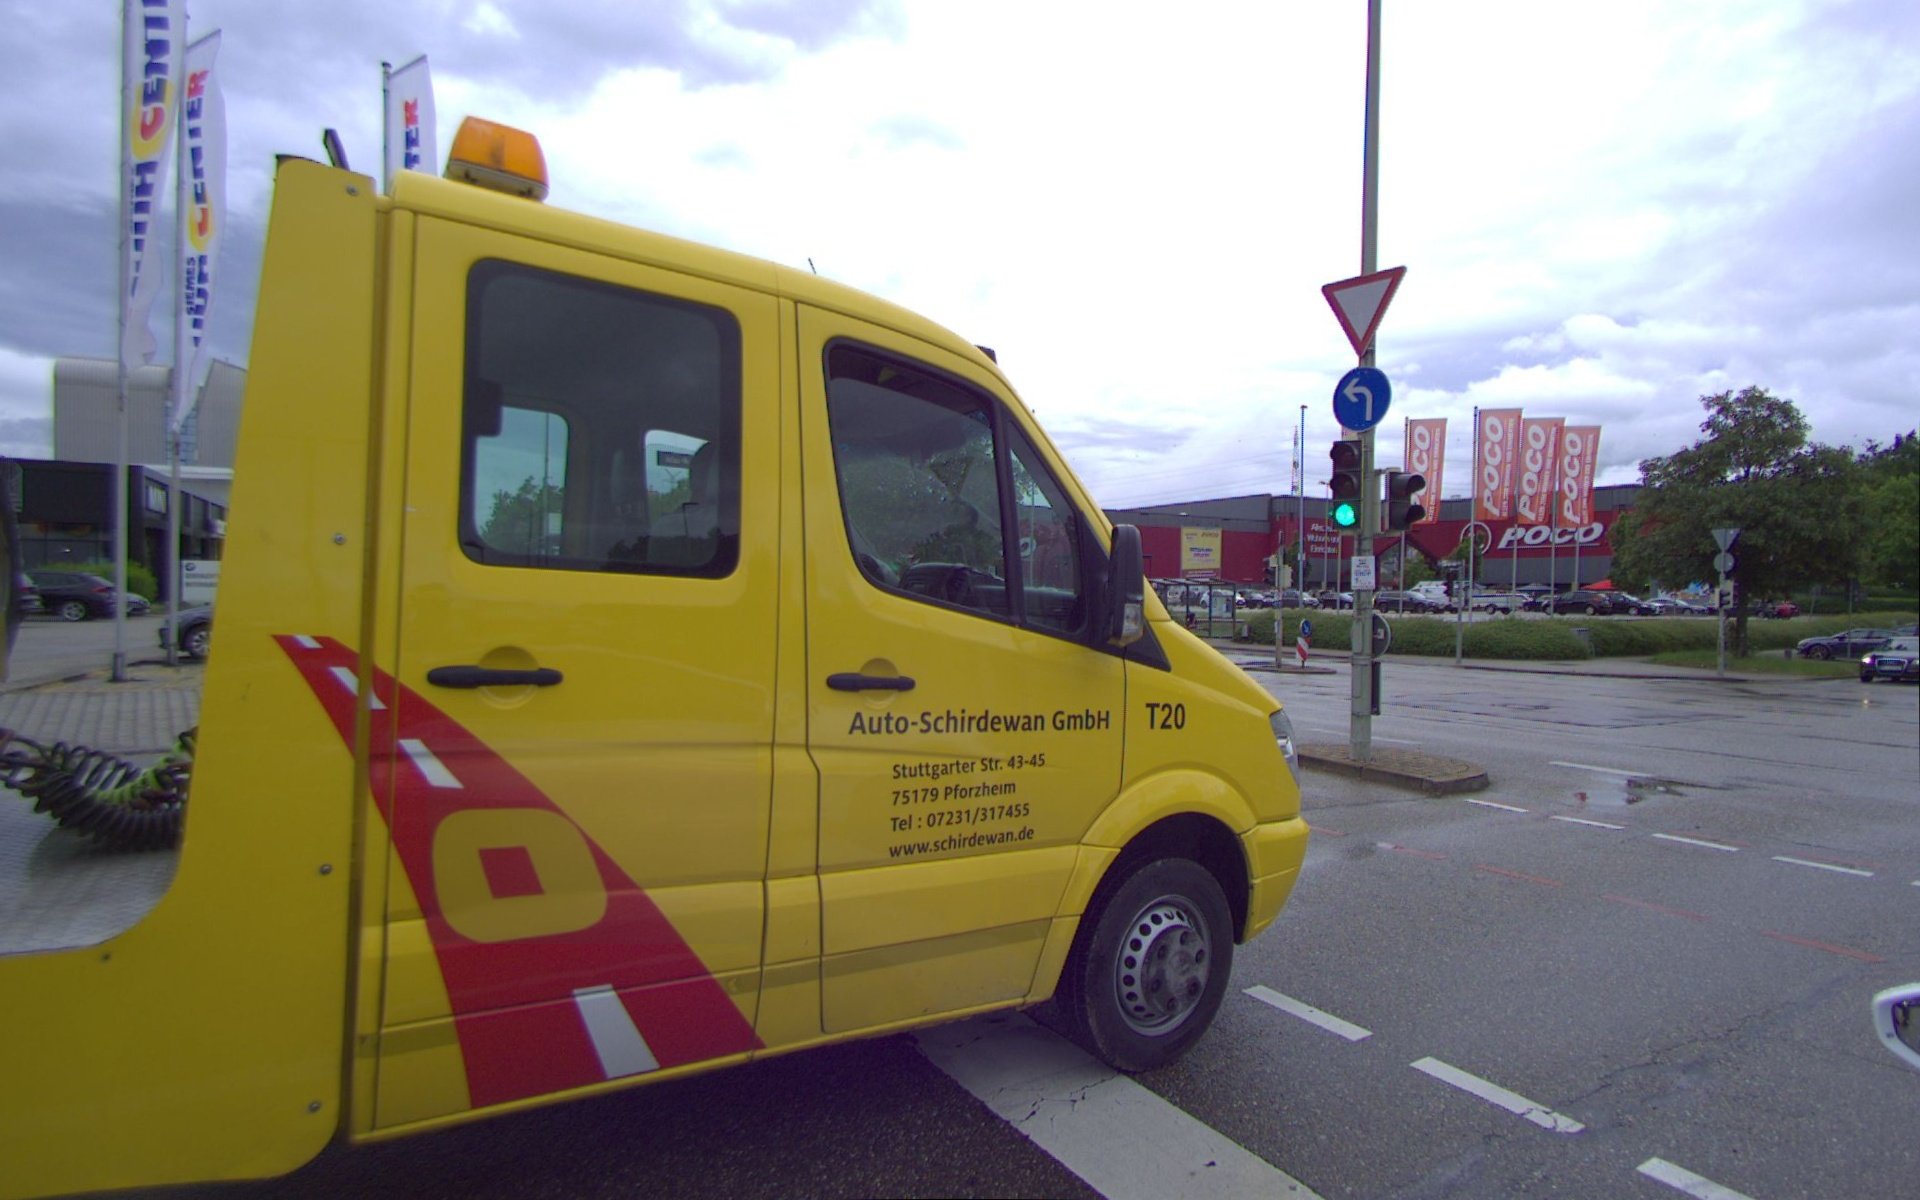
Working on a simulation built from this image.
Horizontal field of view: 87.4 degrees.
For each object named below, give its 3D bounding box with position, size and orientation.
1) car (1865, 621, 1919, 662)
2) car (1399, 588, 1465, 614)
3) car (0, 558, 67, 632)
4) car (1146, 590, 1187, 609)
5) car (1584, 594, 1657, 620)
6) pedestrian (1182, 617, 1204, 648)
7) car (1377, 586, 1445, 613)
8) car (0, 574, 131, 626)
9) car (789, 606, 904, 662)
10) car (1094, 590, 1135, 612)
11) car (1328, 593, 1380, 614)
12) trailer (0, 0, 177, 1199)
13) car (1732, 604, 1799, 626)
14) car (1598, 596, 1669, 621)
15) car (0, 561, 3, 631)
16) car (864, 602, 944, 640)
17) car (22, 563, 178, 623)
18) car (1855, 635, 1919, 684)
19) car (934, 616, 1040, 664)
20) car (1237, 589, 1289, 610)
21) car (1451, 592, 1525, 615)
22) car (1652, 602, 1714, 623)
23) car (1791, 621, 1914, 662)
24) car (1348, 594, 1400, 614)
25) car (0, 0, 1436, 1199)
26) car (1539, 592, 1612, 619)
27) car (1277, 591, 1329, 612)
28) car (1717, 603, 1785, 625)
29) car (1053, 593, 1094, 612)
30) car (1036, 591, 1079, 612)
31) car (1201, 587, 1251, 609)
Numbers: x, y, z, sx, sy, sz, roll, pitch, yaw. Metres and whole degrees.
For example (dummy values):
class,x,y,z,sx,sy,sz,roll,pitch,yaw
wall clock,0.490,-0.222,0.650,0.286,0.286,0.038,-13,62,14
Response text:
class,x,y,z,sx,sy,sz,roll,pitch,yaw
car,42.585,1.861,44.392,1.669,1.747,3.622,2,-1,-37
car,31.560,0.086,67.239,1.612,1.667,3.798,2,-1,-29
car,-26.752,-0.177,26.527,4.320,1.931,1.883,2,-1,-28
car,19.658,-0.050,95.794,1.677,1.667,3.933,2,-1,-29
car,44.754,0.491,68.108,1.652,1.667,3.798,2,-1,-29
pedestrian,11.077,1.555,47.727,0.773,1.450,0.635,3,-1,-34
car,29.273,0.001,65.341,1.652,1.667,3.798,2,-1,-29
car,-28.640,-0.006,31.034,4.320,1.518,1.883,2,-1,-28
car,-3.405,0.972,29.472,1.737,1.483,3.963,3,-2,-33
car,14.387,0.101,93.617,1.771,1.951,3.719,2,-1,-30
car,33.121,0.270,84.582,1.652,1.667,3.933,2,-1,-29
trailer,-5.336,0.047,0.241,7.886,2.507,2.290,1,-1,-33
car,63.551,1.148,79.263,1.652,1.667,3.798,2,-1,-29
car,46.864,0.569,69.933,1.652,1.667,3.798,2,-1,-29
car,-26.014,-0.155,23.868,4.320,1.787,1.883,2,-1,-28
car,-2.318,0.830,40.547,1.679,1.415,3.671,2,0,-32
car,-31.752,-0.217,37.245,3.945,2.040,1.899,2,-1,-25
car,29.582,1.826,31.181,3.959,1.423,1.772,2,-1,-34
car,0.874,1.354,34.973,1.701,1.483,3.963,4,-2,-33
car,24.270,-0.029,80.621,1.652,1.667,3.933,2,-1,-29
car,33.489,0.226,63.766,1.652,1.399,3.880,2,-1,-29
car,59.052,1.029,82.106,1.652,1.667,3.798,2,-1,-29
car,37.448,1.728,42.225,1.669,1.573,3.622,2,-1,-37
car,35.323,0.347,85.857,1.652,1.667,3.933,2,-1,-29
car,-1.008,0.204,3.095,4.961,2.507,2.226,1,-1,-33
car,40.338,0.340,65.886,1.652,1.667,3.798,2,-1,-29
car,28.264,0.110,82.887,1.652,1.667,3.933,2,-1,-29
car,61.228,1.066,77.781,1.652,1.667,3.798,2,-1,-29
car,10.236,0.236,90.829,1.677,1.667,3.933,2,-1,-29
car,8.123,0.118,84.129,1.677,1.667,3.933,2,-1,-29
car,21.144,-0.129,79.975,1.652,1.667,3.933,2,-1,-29
